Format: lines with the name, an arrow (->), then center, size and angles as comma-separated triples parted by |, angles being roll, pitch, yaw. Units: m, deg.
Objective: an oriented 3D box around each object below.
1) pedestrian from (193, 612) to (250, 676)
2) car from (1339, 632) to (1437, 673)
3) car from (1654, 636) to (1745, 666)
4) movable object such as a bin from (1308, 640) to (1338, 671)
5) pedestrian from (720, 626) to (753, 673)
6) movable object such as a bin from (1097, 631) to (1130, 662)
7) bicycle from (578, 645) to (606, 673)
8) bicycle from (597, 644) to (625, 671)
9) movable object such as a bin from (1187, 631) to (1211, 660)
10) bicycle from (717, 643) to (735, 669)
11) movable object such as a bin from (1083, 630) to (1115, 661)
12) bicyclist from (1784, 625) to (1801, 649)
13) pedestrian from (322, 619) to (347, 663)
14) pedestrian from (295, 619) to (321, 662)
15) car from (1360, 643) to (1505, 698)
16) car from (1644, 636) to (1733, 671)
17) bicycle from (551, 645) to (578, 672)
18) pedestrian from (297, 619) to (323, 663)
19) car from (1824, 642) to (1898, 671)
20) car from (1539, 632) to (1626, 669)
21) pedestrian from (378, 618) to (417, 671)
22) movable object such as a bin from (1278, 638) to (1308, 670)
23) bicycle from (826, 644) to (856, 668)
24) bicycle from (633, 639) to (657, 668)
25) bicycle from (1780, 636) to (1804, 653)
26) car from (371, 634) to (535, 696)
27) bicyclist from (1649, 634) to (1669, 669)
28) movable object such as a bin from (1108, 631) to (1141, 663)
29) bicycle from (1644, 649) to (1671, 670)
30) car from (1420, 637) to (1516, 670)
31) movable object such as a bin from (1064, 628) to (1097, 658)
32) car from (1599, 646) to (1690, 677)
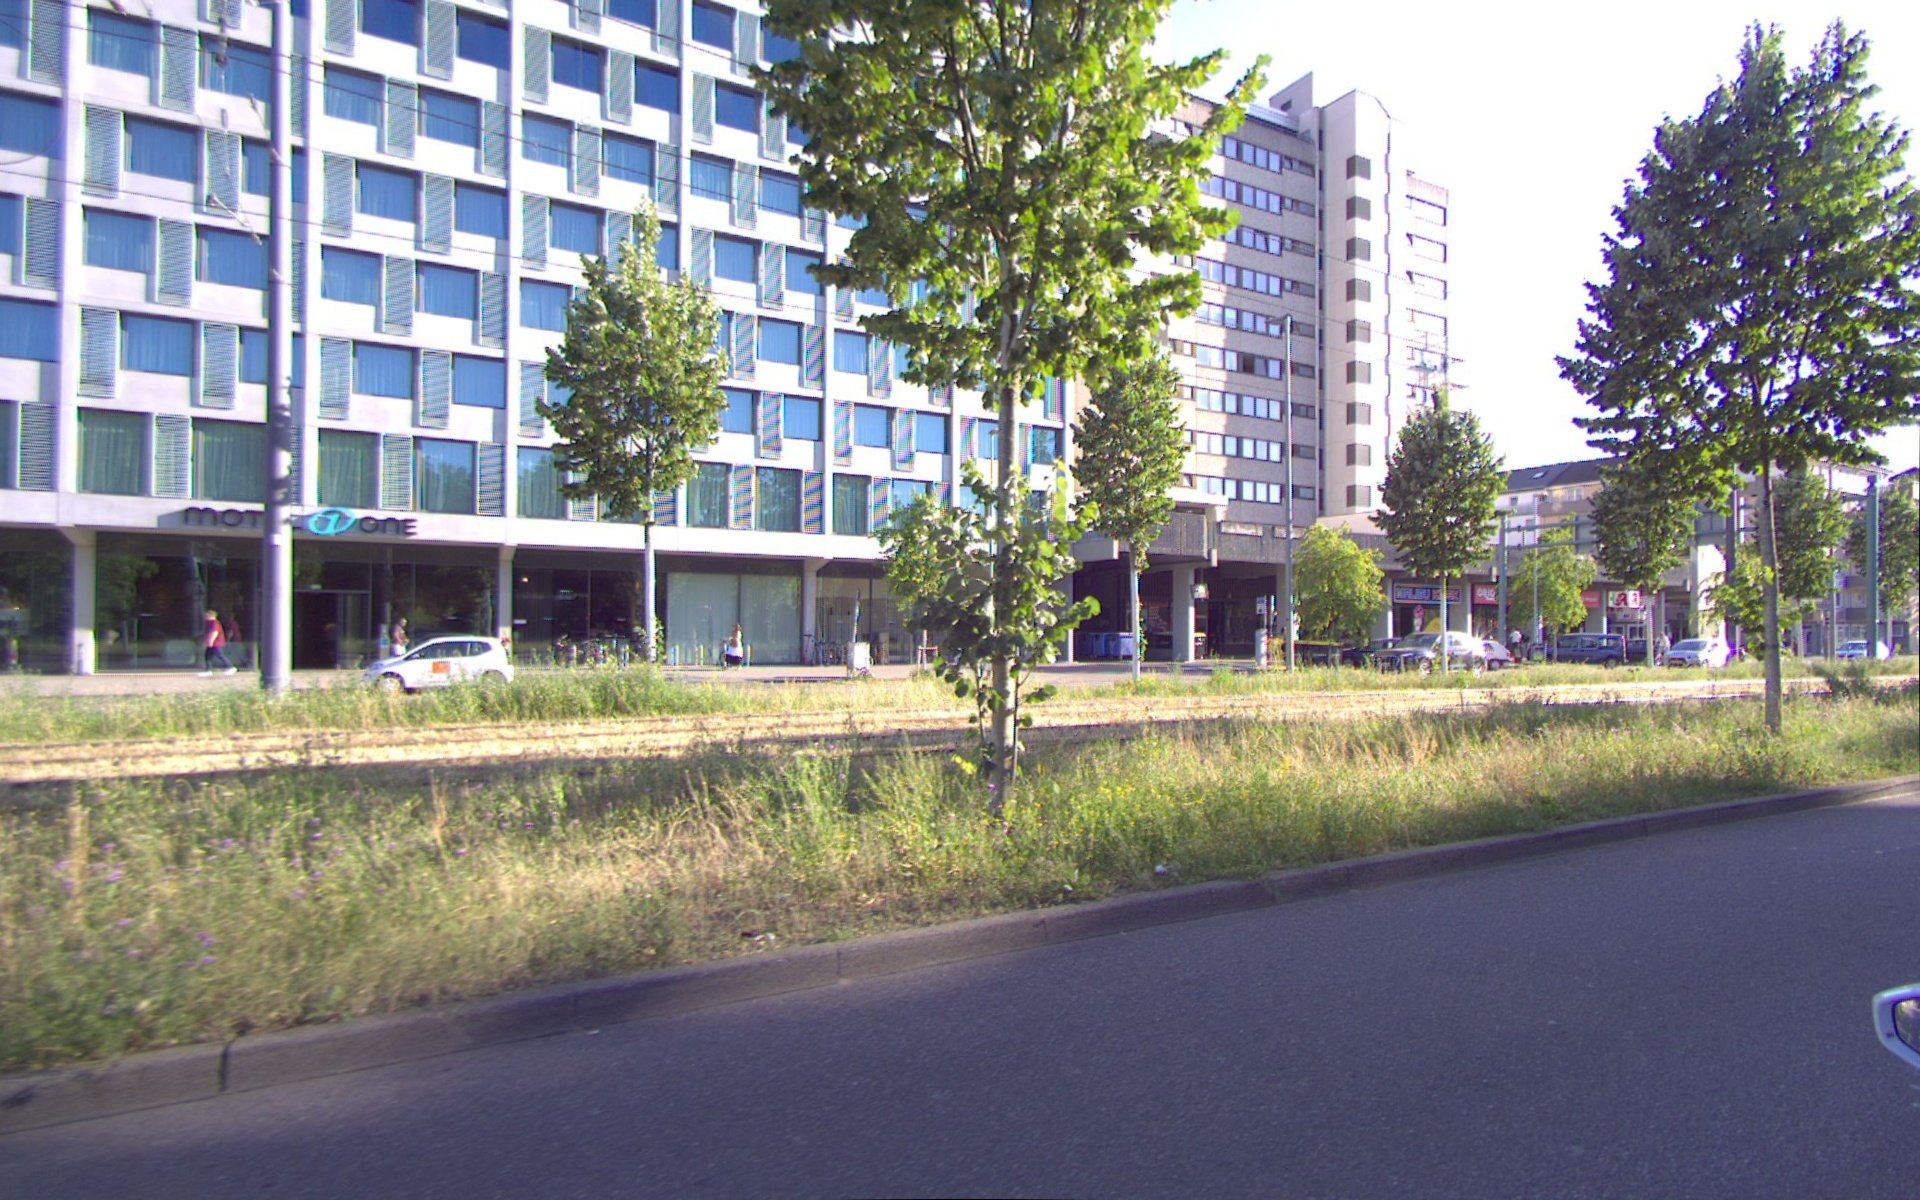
pedestrian -> -22.229, 1.315, 30.258 | 0.959, 1.895, 0.973 | 0, -1, 7
car -> 19.691, 2.392, 46.383 | 4.016, 1.622, 1.749 | 2, 1, 21
car -> 44.024, 3.026, 59.901 | 3.921, 1.584, 2.000 | 1, 0, 20
movable object such as a bin -> 15.542, 2.367, 43.027 | 0.924, 1.297, 0.858 | 1, -2, -14
pedestrian -> -8.026, 1.772, 36.067 | 0.957, 1.675, 0.840 | 1, -1, -27
movable object such as a bin -> 7.362, 2.218, 48.189 | 1.386, 1.459, 0.797 | 1, -2, -29
bicycle -> -13.075, 2.082, 35.664 | 0.507, 0.917, 1.793 | 1, -2, -34
bicycle -> -12.550, 2.067, 36.080 | 0.507, 0.917, 1.793 | 1, -2, -34
movable object such as a bin -> 11.727, 2.236, 49.317 | 0.857, 1.389, 0.818 | 1, -2, -29
bicycle -> -8.802, 2.092, 37.732 | 0.504, 0.917, 1.803 | 1, -2, -18
movable object such as a bin -> 6.799, 2.218, 49.189 | 1.386, 1.459, 0.797 | 1, -2, -29
bicyclist -> 49.440, 2.207, 59.643 | 0.751, 1.373, 0.589 | 1, 0, -32
pedestrian -> -25.156, 1.646, 40.399 | 0.755, 1.719, 0.851 | 1, -1, -28
pedestrian -> -26.471, 1.626, 40.785 | 0.755, 1.719, 0.851 | 1, -1, -28
car -> 16.225, 2.374, 34.442 | 5.024, 1.711, 1.878 | 1, -1, -28
car -> 34.643, 2.514, 47.740 | 3.949, 1.535, 1.878 | 1, -1, -28
bicycle -> -13.965, 2.050, 35.452 | 0.507, 0.917, 1.793 | 1, -2, -34
pedestrian -> -25.797, 1.631, 39.856 | 0.755, 1.719, 0.851 | 1, -1, -28
car -> 51.506, 3.225, 57.403 | 3.949, 1.535, 1.878 | 1, -1, -28
car -> 33.788, 2.722, 54.627 | 3.686, 1.853, 1.824 | 1, 0, 22
pedestrian -> -18.487, 1.463, 33.024 | 1.045, 1.692, 0.972 | 1, -1, -27
movable object such as a bin -> 14.616, 2.361, 44.091 | 0.924, 1.375, 0.858 | 1, -2, -14
bicycle -> -4.786, 2.239, 40.347 | 0.506, 0.917, 1.795 | 1, -2, -31
bicycle -> -11.566, 1.961, 36.867 | 0.477, 0.979, 1.744 | 1, 0, -29
bicycle -> 49.390, 2.658, 59.632 | 1.698, 0.976, 0.603 | 1, 0, -32
car -> -13.599, 1.708, 27.098 | 3.823, 1.512, 1.878 | 1, -1, -28
bicyclist -> 36.566, 2.690, 52.540 | 0.848, 1.812, 0.537 | 1, 0, -32
movable object such as a bin -> 7.769, 2.218, 47.421 | 1.386, 1.459, 0.797 | 1, -2, -29
bicycle -> 36.449, 3.102, 52.462 | 1.692, 1.006, 0.541 | 1, 0, -32
car -> 25.053, 2.611, 49.669 | 3.919, 1.472, 1.788 | 1, 0, 13
movable object such as a bin -> 6.027, 2.137, 50.293 | 1.386, 1.459, 0.937 | 1, -2, -29
car -> 39.703, 3.553, 58.342 | 3.919, 1.595, 2.001 | 1, 0, 13
